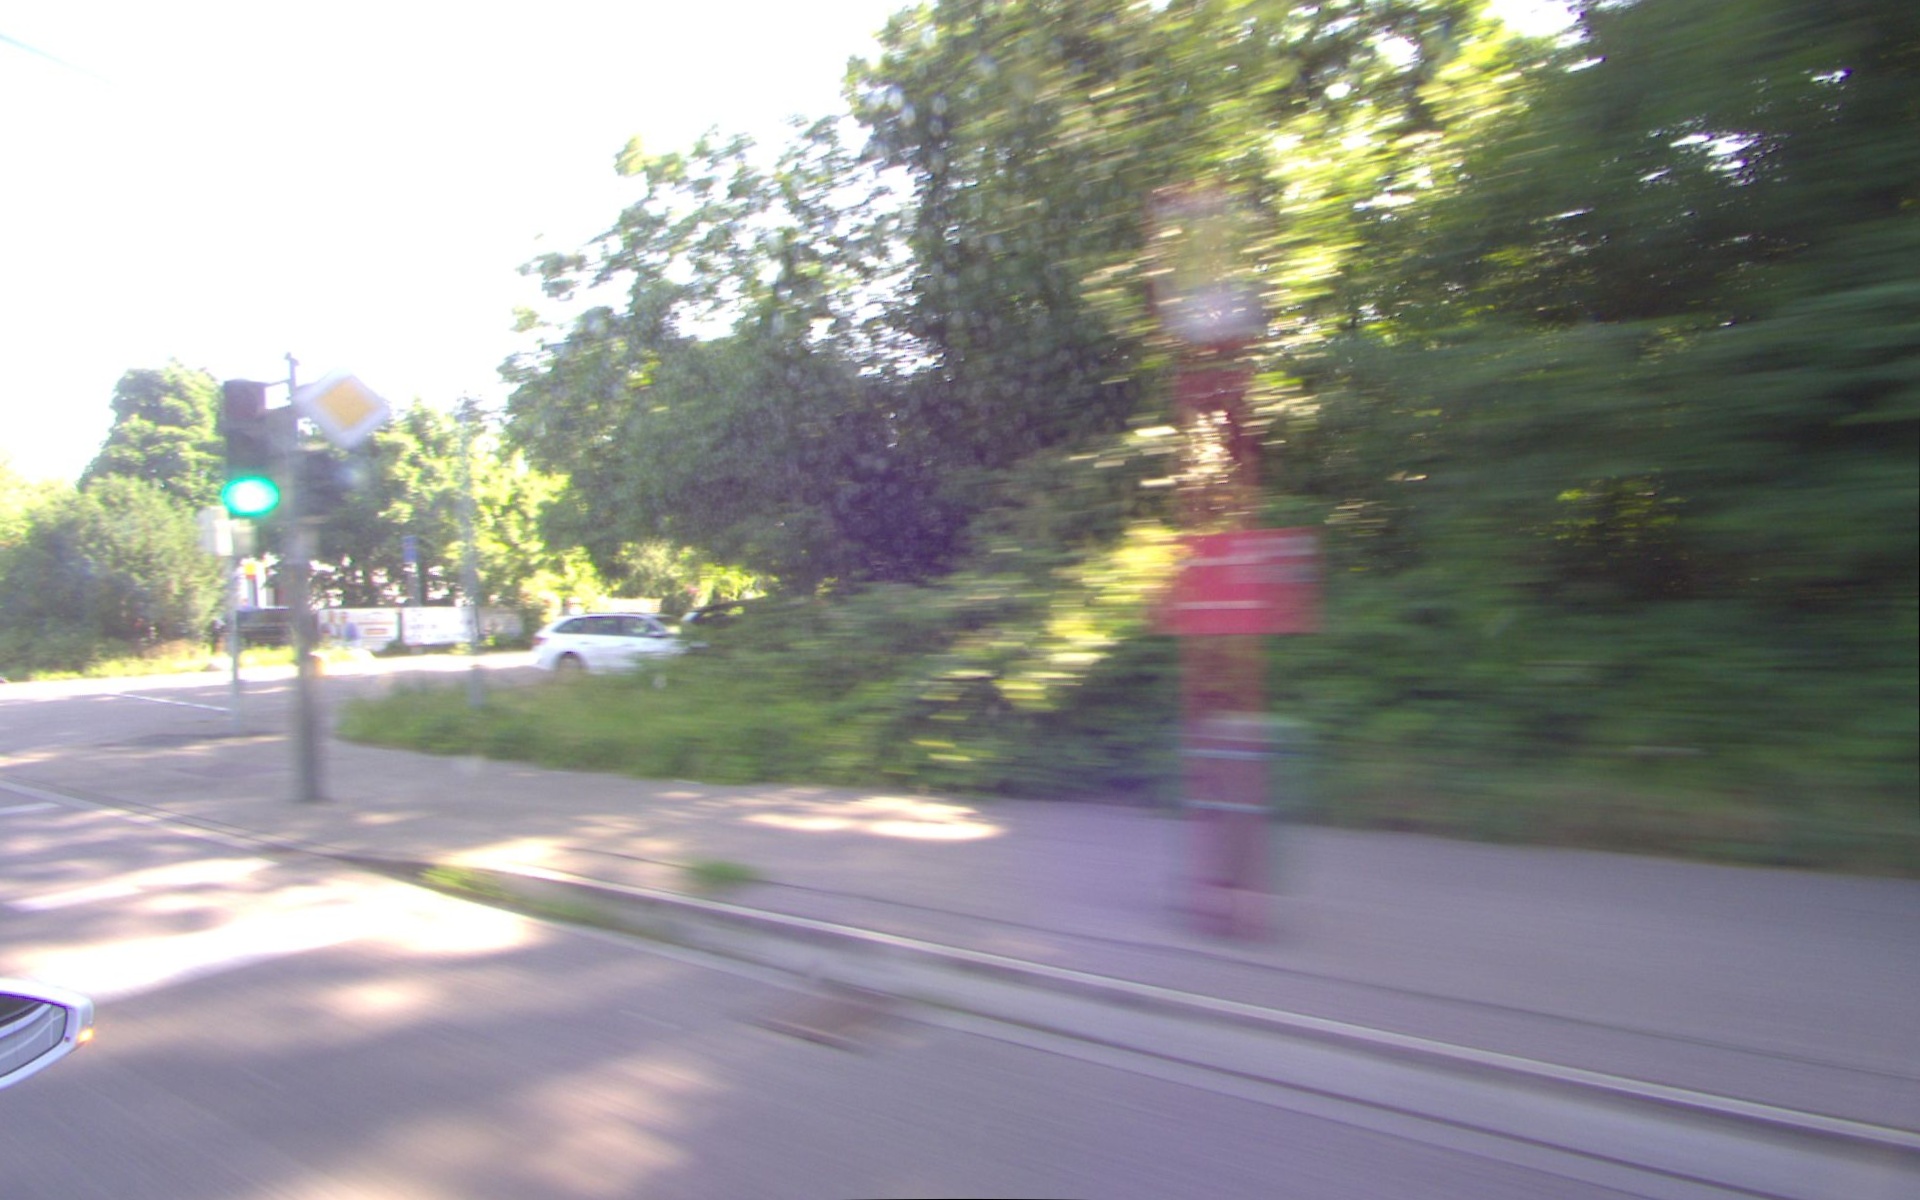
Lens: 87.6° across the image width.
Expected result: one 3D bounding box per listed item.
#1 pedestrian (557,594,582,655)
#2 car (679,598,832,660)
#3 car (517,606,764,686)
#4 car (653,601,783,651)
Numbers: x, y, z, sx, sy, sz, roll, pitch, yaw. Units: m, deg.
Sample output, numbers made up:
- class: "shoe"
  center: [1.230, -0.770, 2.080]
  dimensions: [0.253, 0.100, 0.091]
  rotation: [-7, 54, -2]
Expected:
- class: "pedestrian"
  center: [-10.882, 0.679, 27.896]
  dimensions: [0.599, 1.651, 0.413]
  rotation: [-2, 2, -20]
- class: "car"
  center: [-5.475, 0.737, 26.873]
  dimensions: [3.731, 1.484, 1.622]
  rotation: [-2, 1, -27]
- class: "car"
  center: [-6.431, 0.925, 20.287]
  dimensions: [4.528, 1.484, 1.627]
  rotation: [-1, 1, 12]
- class: "car"
  center: [-7.935, 0.839, 33.139]
  dimensions: [3.910, 1.484, 1.628]
  rotation: [-1, 1, -3]
